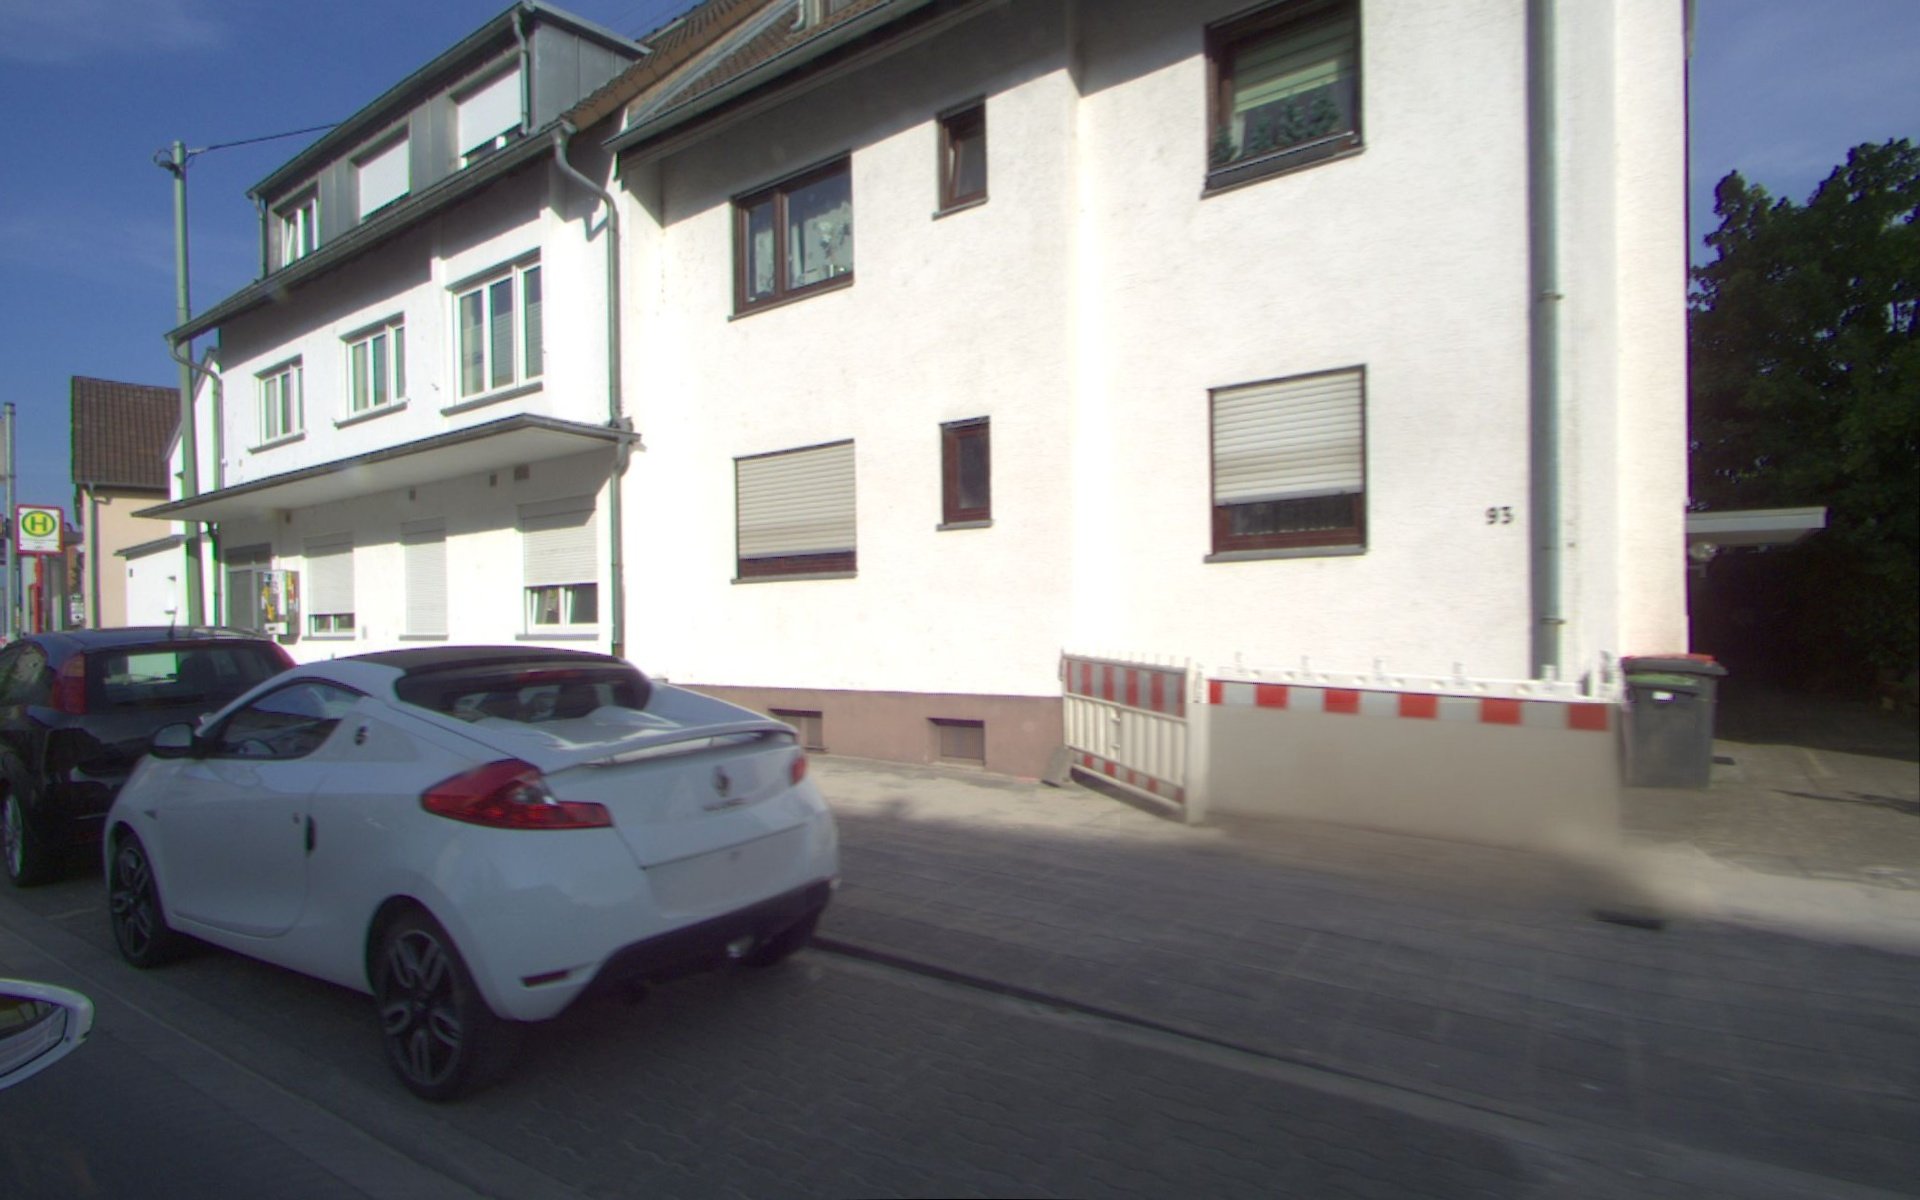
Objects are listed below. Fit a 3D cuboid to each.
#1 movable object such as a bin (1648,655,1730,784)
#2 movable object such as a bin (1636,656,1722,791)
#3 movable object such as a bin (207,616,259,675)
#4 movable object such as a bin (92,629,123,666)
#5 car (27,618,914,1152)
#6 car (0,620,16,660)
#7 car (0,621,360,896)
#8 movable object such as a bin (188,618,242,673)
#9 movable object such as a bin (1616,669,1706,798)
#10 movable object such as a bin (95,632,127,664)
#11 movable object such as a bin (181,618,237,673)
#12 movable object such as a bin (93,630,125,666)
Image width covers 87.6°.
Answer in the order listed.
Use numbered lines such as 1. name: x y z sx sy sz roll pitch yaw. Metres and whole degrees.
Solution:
1. movable object such as a bin: 6.410 1.024 8.802 0.533 1.064 0.514 0 -1 43
2. movable object such as a bin: 6.048 1.016 8.421 0.533 1.064 0.514 0 -1 43
3. movable object such as a bin: -14.246 0.884 19.631 0.552 1.107 0.693 -1 0 39
4. movable object such as a bin: -26.966 1.492 31.673 0.723 1.146 0.548 0 -1 -44
5. car: -2.434 0.803 4.574 4.273 1.416 1.711 -1 -1 33
6. car: -47.423 1.926 48.531 2.058 1.881 4.572 -2 0 -39
7. car: -5.939 0.879 7.071 3.870 1.439 1.602 -1 -2 37
8. movable object such as a bin: -15.554 0.946 20.916 0.438 1.107 0.807 -1 0 41
9. movable object such as a bin: 5.640 1.051 8.057 0.533 0.958 0.515 0 -1 43
10. movable object such as a bin: -26.065 1.461 30.740 0.723 0.971 0.548 0 -1 -44
11. movable object such as a bin: -16.000 0.959 21.341 0.759 1.107 0.807 -1 0 41
12. movable object such as a bin: -26.546 1.487 31.231 0.723 1.107 0.548 0 -1 -44
